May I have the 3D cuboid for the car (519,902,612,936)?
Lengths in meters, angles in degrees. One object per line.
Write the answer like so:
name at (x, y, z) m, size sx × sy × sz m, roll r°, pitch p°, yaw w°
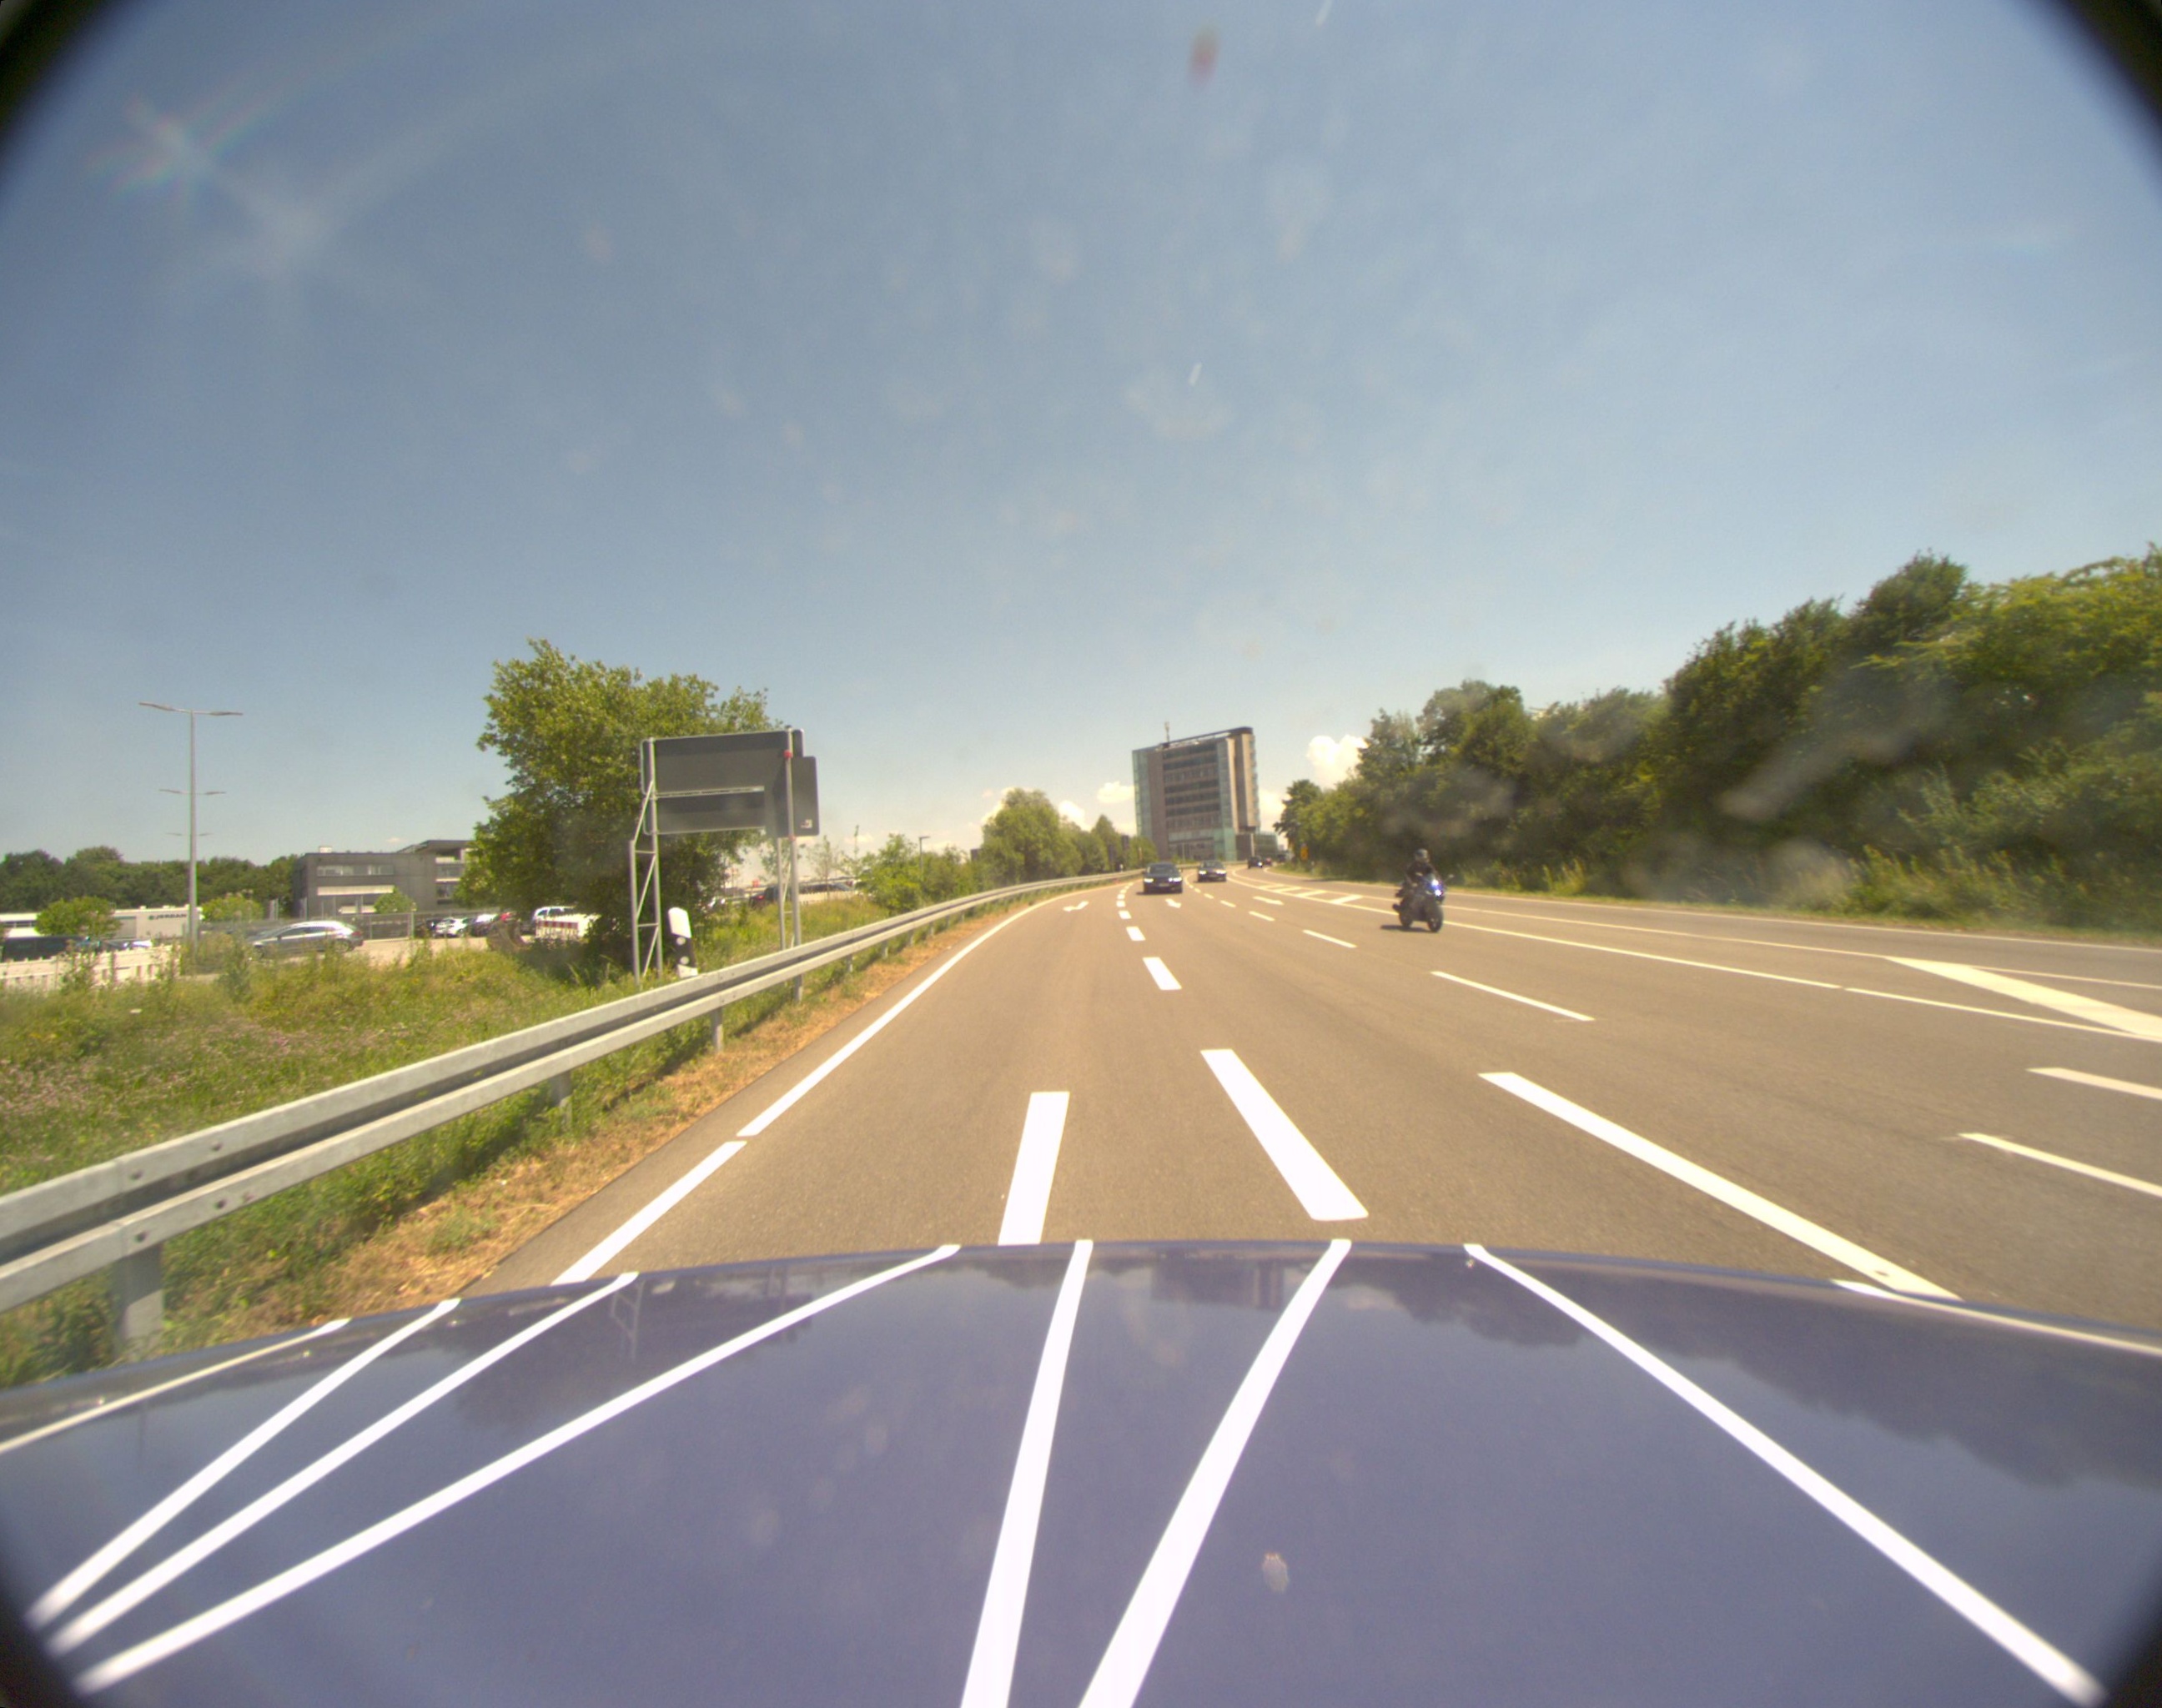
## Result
car at (-30.909, 3.847, 45.622) m, size 1.995 × 1.624 × 4.164 m, roll -2°, pitch 0°, yaw 38°

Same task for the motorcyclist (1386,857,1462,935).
motorcyclist at (6.876, 0.819, 15.304) m, size 0.861 × 1.479 × 1.161 m, roll -1°, pitch 0°, yaw -10°

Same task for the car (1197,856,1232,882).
car at (8.949, 0.956, 51.261) m, size 2.116 × 1.581 × 4.453 m, roll -3°, pitch -1°, yaw 8°

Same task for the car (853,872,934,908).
car at (-13.735, 2.660, 55.856) m, size 5.230 × 2.243 × 2.137 m, roll -4°, pitch -3°, yaw 3°

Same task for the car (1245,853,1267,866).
car at (22.751, 0.691, 98.496) m, size 1.995 × 1.583 × 4.689 m, roll -2°, pitch 0°, yaw 22°

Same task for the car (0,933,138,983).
car at (-45.805, 4.629, 33.915) m, size 2.097 × 1.675 × 4.549 m, roll -4°, pitch 0°, yaw 40°

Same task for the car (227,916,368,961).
car at (-37.692, 4.019, 36.682) m, size 2.009 × 1.627 × 4.598 m, roll -3°, pitch -1°, yaw 44°

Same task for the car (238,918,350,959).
car at (-41.518, 4.413, 40.179) m, size 1.942 × 1.627 × 4.008 m, roll -3°, pitch -1°, yaw 44°

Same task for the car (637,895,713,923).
car at (-27.760, 3.748, 52.081) m, size 1.942 × 1.559 × 4.096 m, roll -3°, pitch -1°, yaw 40°

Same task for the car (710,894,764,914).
car at (-31.520, 4.572, 69.743) m, size 1.942 × 1.559 × 4.008 m, roll -3°, pitch 0°, yaw 39°

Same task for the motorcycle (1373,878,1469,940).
motorcycle at (6.867, 1.073, 15.481) m, size 0.734 × 1.131 × 2.071 m, roll -1°, pitch -1°, yaw -10°

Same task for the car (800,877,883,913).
car at (-14.969, 2.577, 47.605) m, size 4.441 × 1.901 × 2.066 m, roll -4°, pitch -3°, yaw 7°

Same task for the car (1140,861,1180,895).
car at (3.779, 1.134, 36.659) m, size 1.779 × 1.497 × 4.563 m, roll -2°, pitch -1°, yaw 5°

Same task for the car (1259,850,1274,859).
car at (29.832, 0.075, 122.028) m, size 1.819 × 1.433 × 4.650 m, roll -1°, pitch 0°, yaw 21°

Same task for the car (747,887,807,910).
car at (-26.243, 3.853, 65.745) m, size 1.943 × 1.720 × 4.328 m, roll -6°, pitch -4°, yaw 36°

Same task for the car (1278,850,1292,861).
car at (38.627, 0.254, 143.744) m, size 1.995 × 1.883 × 5.111 m, roll -2°, pitch 0°, yaw 21°

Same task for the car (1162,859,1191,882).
car at (7.841, 1.400, 62.100) m, size 1.932 × 1.576 × 4.185 m, roll -6°, pitch -4°, yaw 10°

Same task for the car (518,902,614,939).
car at (-28.952, 3.684, 42.785) m, size 1.995 × 1.663 × 4.008 m, roll -2°, pitch 0°, yaw 37°

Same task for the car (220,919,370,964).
car at (-35.612, 3.900, 34.551) m, size 1.995 × 1.499 × 4.622 m, roll -2°, pitch 0°, yaw 42°

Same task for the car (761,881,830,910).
car at (-24.241, 3.522, 64.730) m, size 1.995 × 2.157 × 5.164 m, roll -6°, pitch -4°, yaw 38°
